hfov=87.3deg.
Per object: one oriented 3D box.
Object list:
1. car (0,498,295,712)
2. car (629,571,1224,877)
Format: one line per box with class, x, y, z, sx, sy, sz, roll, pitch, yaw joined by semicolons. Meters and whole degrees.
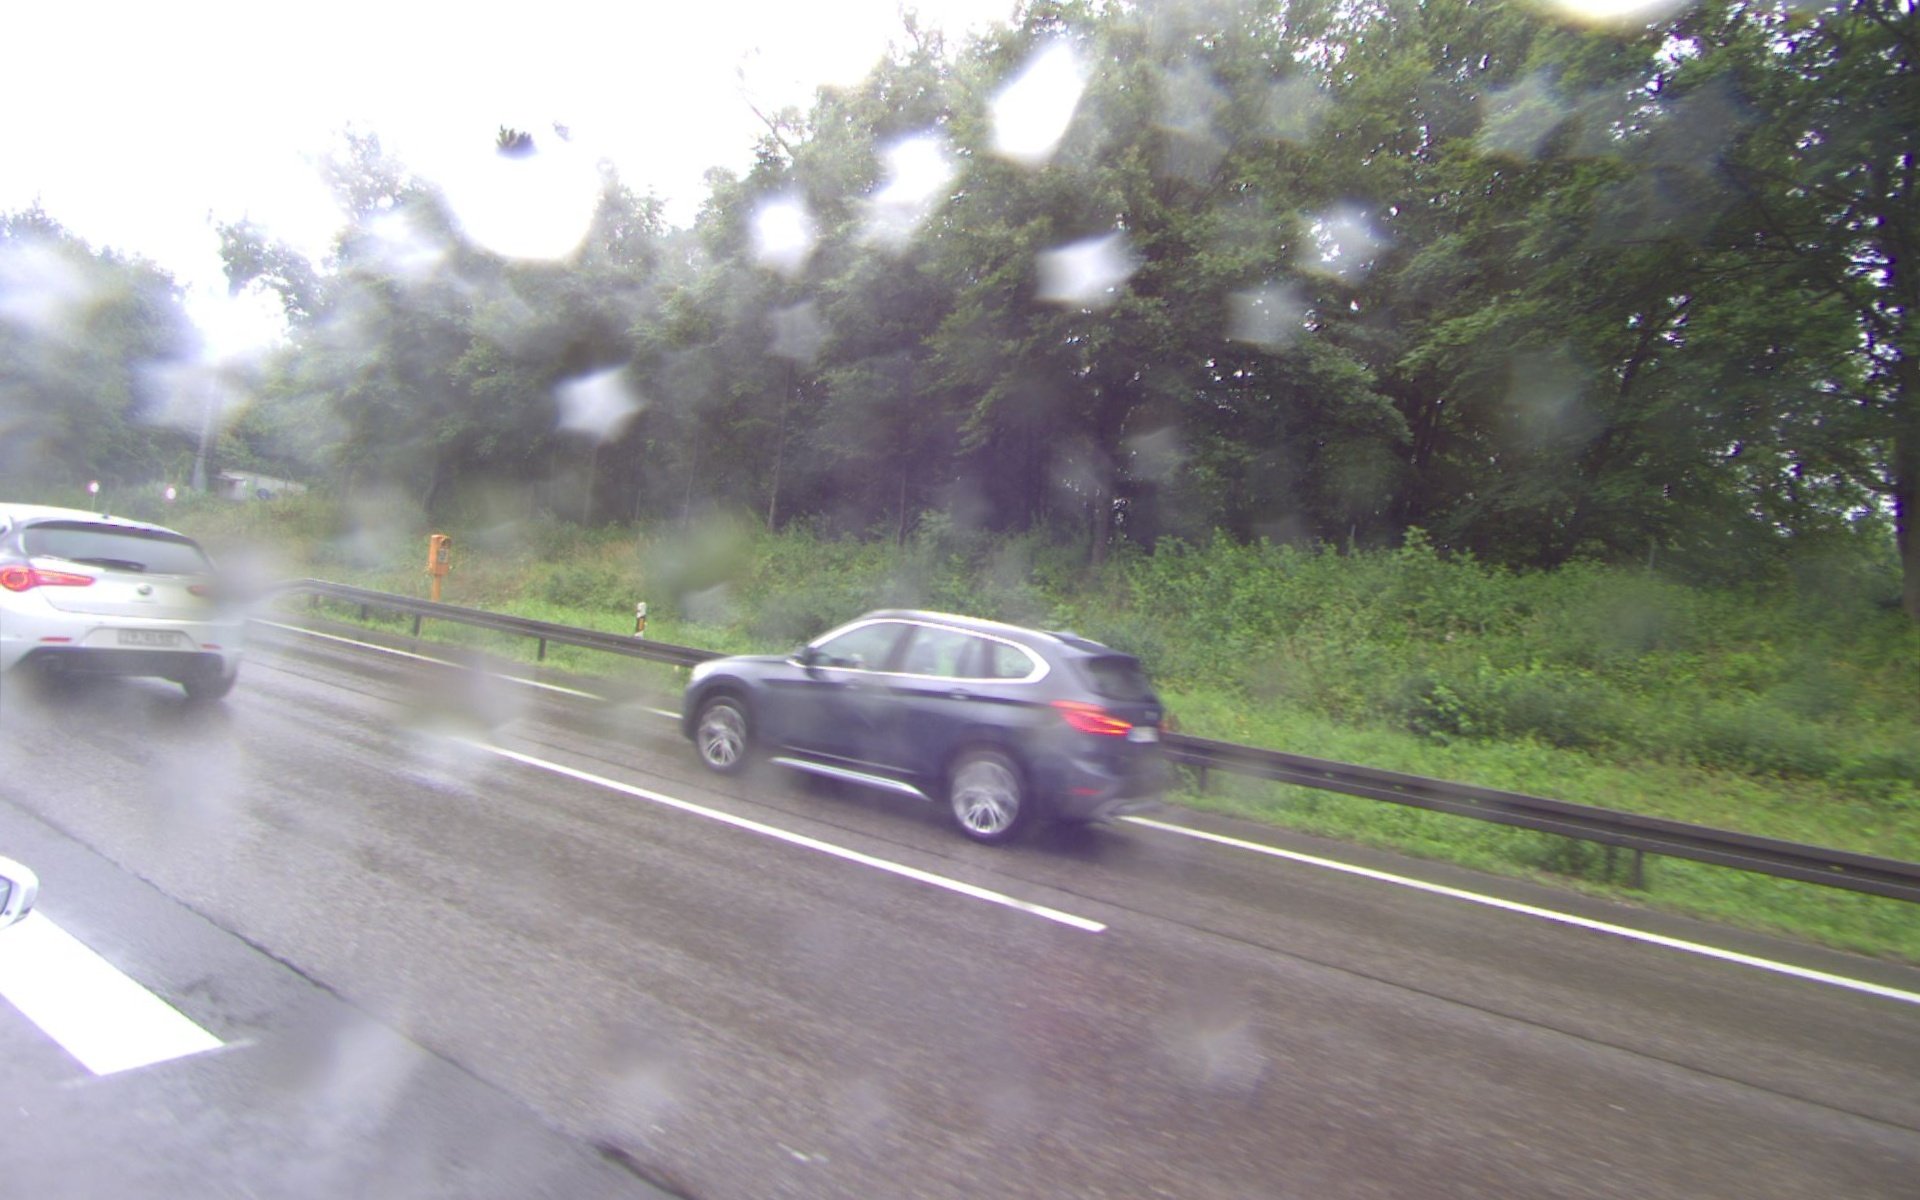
car;-8.001;-0.100;8.798;4.409;1.442;1.893;7;-2;32
car;-0.412;0.872;8.671;4.689;1.602;1.993;7;-2;33
